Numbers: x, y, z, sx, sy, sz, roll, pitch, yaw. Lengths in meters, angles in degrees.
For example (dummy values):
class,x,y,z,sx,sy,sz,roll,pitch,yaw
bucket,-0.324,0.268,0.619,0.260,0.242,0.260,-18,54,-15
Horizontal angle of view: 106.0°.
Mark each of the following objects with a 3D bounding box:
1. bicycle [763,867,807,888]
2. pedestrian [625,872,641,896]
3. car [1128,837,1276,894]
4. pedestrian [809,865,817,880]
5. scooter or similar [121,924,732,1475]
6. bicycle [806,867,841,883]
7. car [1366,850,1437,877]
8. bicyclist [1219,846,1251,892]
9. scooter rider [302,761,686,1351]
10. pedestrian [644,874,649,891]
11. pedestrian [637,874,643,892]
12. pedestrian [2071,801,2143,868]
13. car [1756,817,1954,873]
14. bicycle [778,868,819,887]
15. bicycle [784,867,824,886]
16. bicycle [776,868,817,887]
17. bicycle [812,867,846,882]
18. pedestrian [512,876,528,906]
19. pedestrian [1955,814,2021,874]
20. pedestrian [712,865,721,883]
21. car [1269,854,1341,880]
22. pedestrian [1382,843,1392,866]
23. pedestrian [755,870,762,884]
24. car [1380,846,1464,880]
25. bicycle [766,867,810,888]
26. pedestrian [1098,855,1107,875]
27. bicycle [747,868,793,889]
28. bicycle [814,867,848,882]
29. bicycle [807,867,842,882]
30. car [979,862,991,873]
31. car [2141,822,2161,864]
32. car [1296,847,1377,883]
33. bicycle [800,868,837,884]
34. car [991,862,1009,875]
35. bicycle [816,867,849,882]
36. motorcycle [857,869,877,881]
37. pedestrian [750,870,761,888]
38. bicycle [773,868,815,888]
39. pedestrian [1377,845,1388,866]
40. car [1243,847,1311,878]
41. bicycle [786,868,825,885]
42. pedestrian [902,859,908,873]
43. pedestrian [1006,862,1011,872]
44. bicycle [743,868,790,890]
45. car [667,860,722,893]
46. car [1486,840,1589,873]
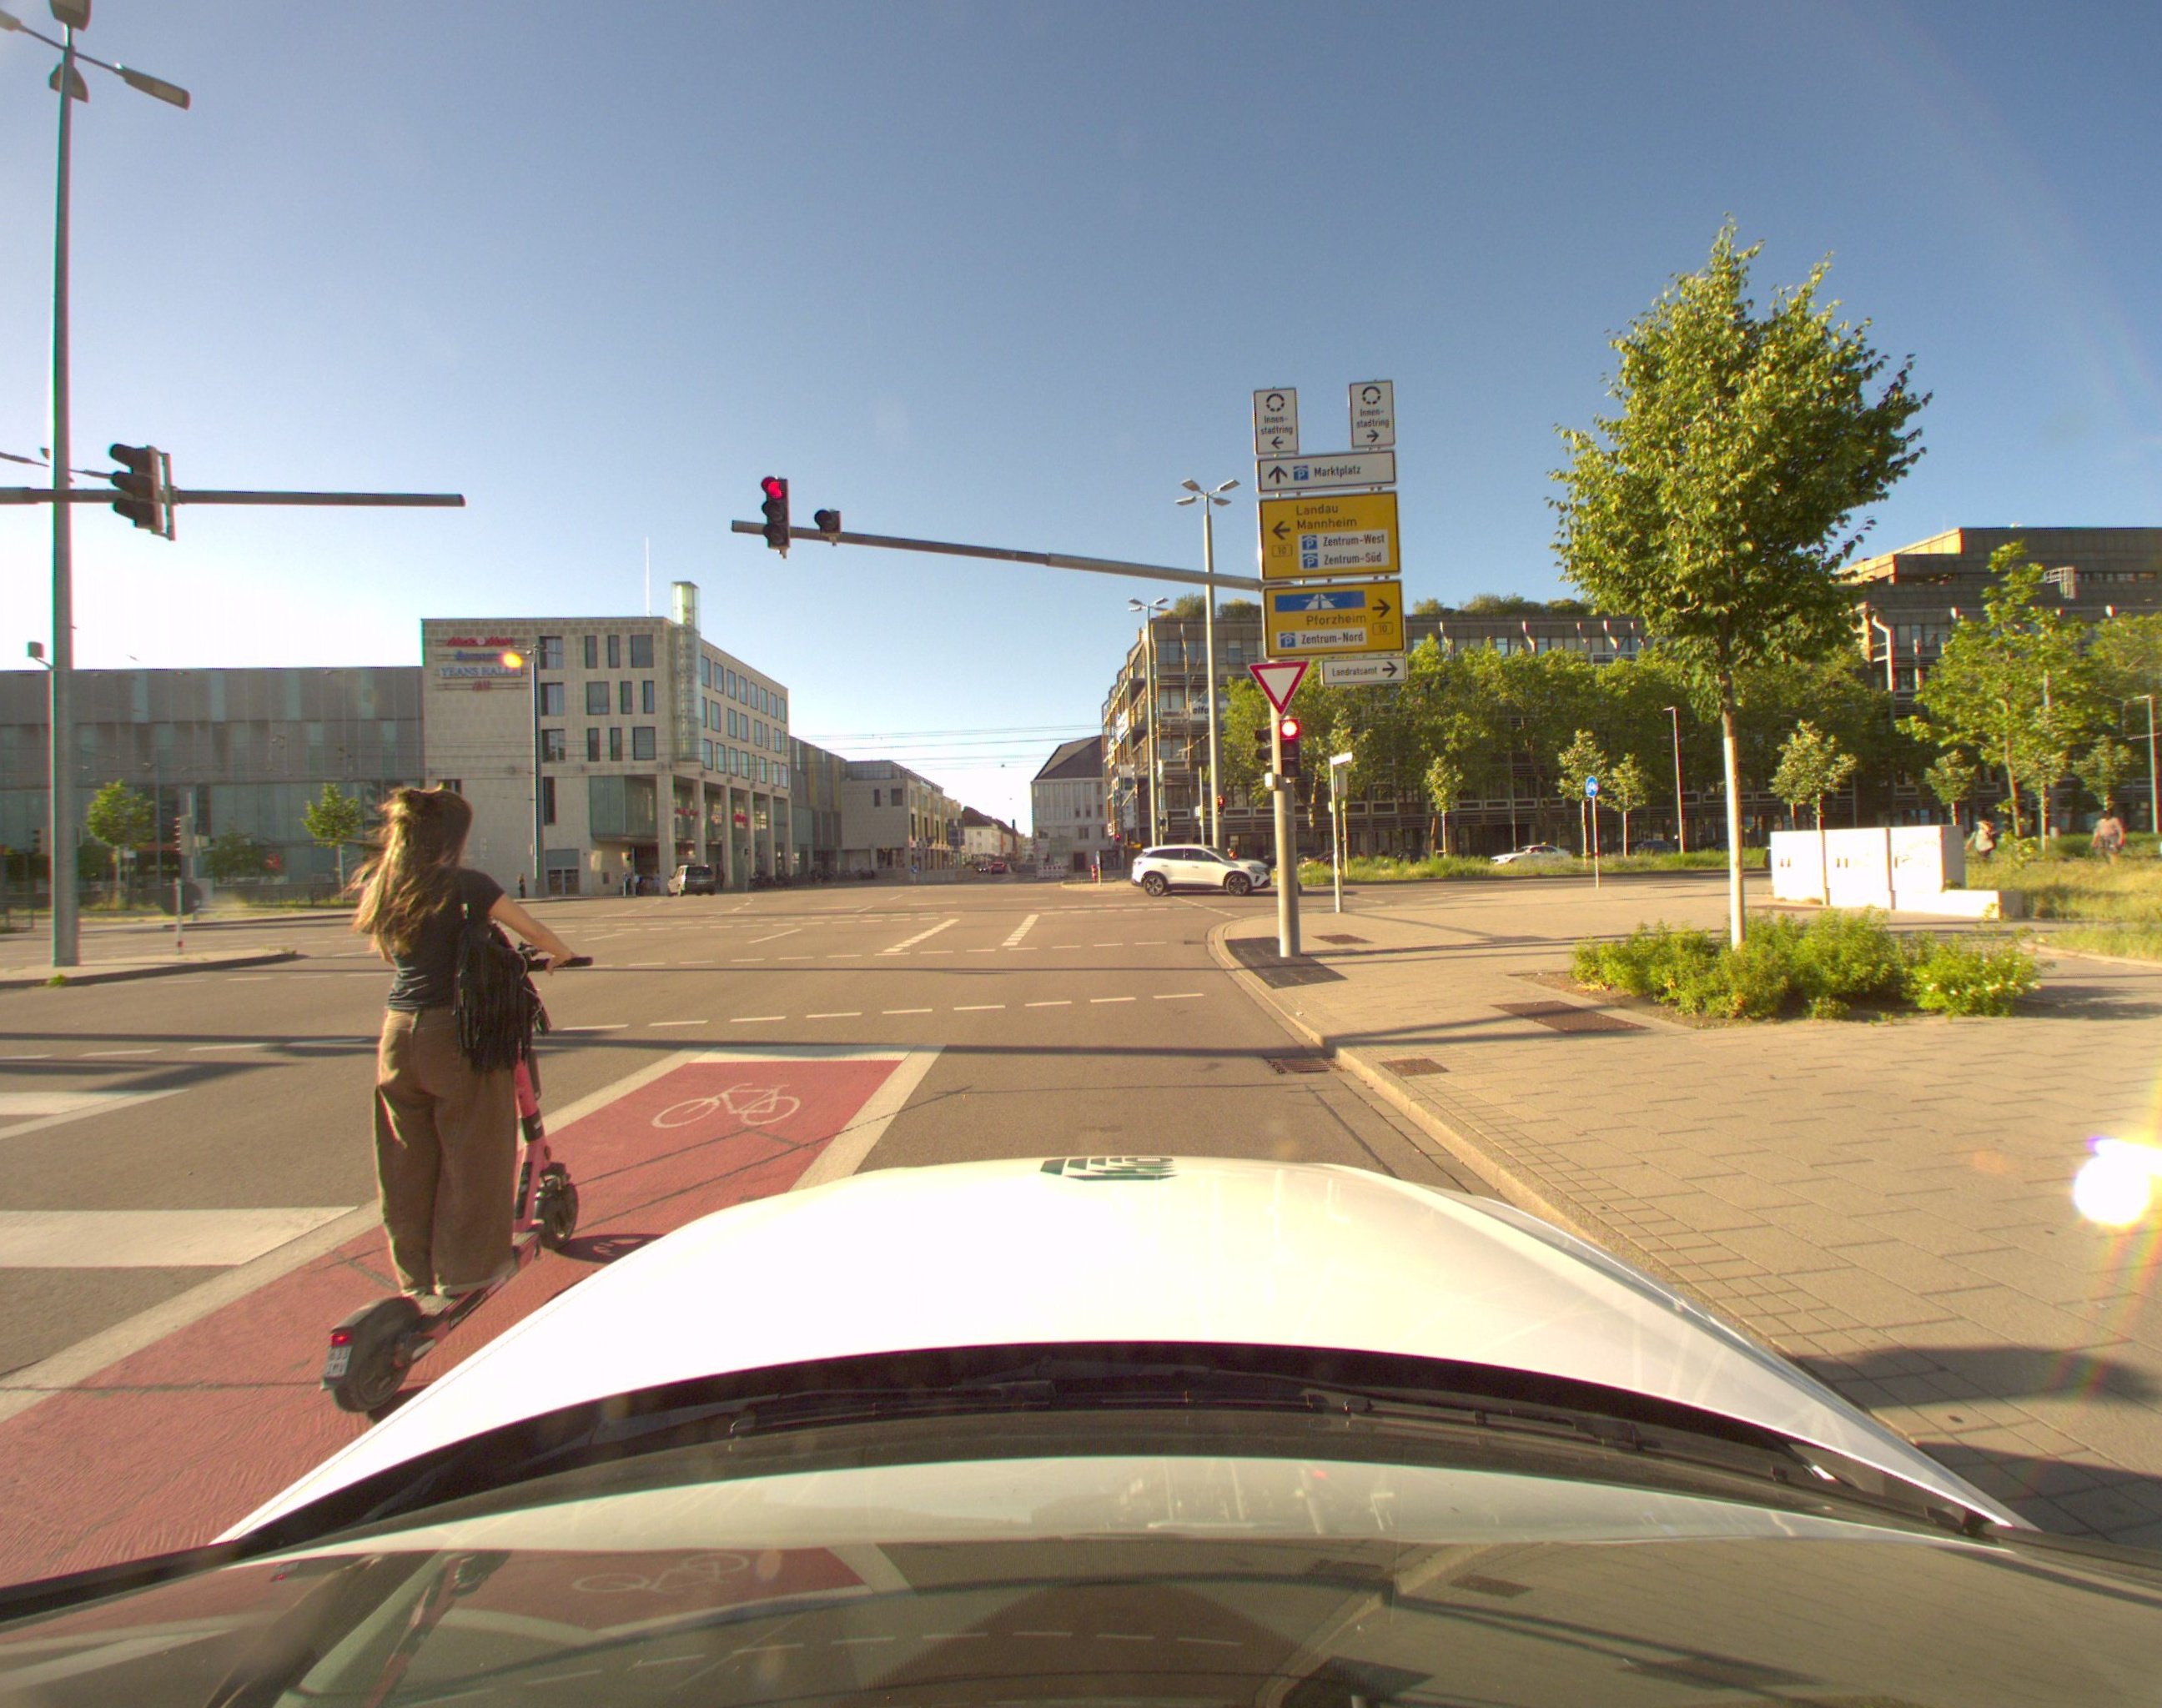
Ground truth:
class,x,y,z,sx,sy,sz,roll,pitch,yaw
bicycle,-26.139,2.073,71.952,3.488,1.696,1.114,-2,0,-7
pedestrian,-33.699,2.257,61.245,0.755,1.798,0.736,-2,0,-4
car,3.934,0.410,26.439,4.354,1.660,2.010,-2,-2,20
pedestrian,-30.037,2.123,91.182,0.652,1.642,0.693,-2,0,-7
scooter or similar,-1.974,0.924,2.839,0.725,1.202,1.665,-1,0,2
bicycle,-27.647,2.216,87.447,3.491,1.527,0.984,-2,0,-10
car,21.406,0.642,54.573,3.976,1.750,1.998,0,-1,-2
bicyclist,8.888,0.857,47.064,1.566,2.580,0.929,-2,0,-7
scooter rider,-1.981,0.613,2.877,0.726,1.775,0.811,-1,0,1
pedestrian,-36.740,2.449,68.863,0.388,1.412,0.434,-2,0,-27
pedestrian,-37.095,2.425,68.460,0.388,1.426,0.498,-2,0,-29
pedestrian,27.221,-0.509,21.618,0.694,1.728,0.939,-2,0,-12
car,26.615,-0.307,28.126,4.922,1.601,2.000,-3,1,-1
bicycle,-27.039,2.214,78.064,3.491,1.696,0.984,-2,0,-10
bicycle,-27.243,2.238,80.160,3.491,1.696,0.984,-2,0,-10
bicycle,-26.851,2.203,76.855,3.491,1.696,0.984,-2,0,-10
bicycle,-27.923,2.254,90.353,3.491,1.527,0.984,-2,0,-10
pedestrian,-32.609,2.152,47.321,0.525,1.694,0.546,-2,0,-8
pedestrian,25.627,-0.282,23.020,0.801,1.630,0.939,-2,0,-12
pedestrian,-32.091,1.769,71.653,0.480,1.510,0.513,-2,0,-3
car,13.855,0.785,50.468,3.976,1.508,1.867,-1,0,-2
pedestrian,23.351,0.045,62.178,0.538,1.669,0.537,-2,0,-1
pedestrian,-33.367,2.349,84.321,0.640,1.435,0.472,-2,0,-21
car,21.408,0.564,51.239,4.435,2.014,1.998,0,-1,-4
bicycle,-26.315,2.119,73.173,3.488,1.696,1.114,-2,0,-7
pedestrian,1.834,0.954,69.731,0.661,1.658,0.755,-2,0,-1
bicycle,-26.906,2.132,70.500,3.488,1.696,1.114,-2,0,-7
bicycle,-28.166,2.296,91.746,3.491,1.527,0.984,-2,0,-10
bicycle,-27.916,2.216,88.576,3.491,1.527,0.984,-2,0,-10
car,-17.179,2.416,145.788,1.752,1.783,3.997,-2,0,-2
car,41.924,-0.489,29.595,4.681,1.528,1.996,-2,0,-6
car,14.455,0.621,46.201,3.975,2.014,1.999,0,-1,-1
bicycle,-27.542,2.295,85.579,3.491,1.527,0.984,-2,0,-10
car,-10.782,1.888,108.857,2.195,1.607,4.320,-2,0,-4
bicycle,-28.283,2.333,92.777,3.491,1.527,0.984,-2,0,-10
motorcycle,-25.961,2.540,98.864,2.269,1.318,0.719,-2,0,-4
pedestrian,-30.555,2.319,76.477,0.785,1.642,0.691,-2,0,-14
bicycle,-26.675,2.184,75.759,3.491,1.696,0.984,-2,0,-10
pedestrian,23.268,0.085,62.815,0.538,1.590,0.586,-2,0,-1
car,12.843,0.563,53.616,3.975,2.014,1.999,0,-1,-1
bicycle,-27.404,2.230,81.158,3.491,1.527,0.984,-2,0,-10
pedestrian,-26.186,1.738,120.857,0.623,2.013,0.734,-2,0,4
pedestrian,-9.756,1.750,108.852,0.608,1.411,0.569,-2,0,-5
bicycle,-26.727,2.100,69.291,3.488,1.696,1.114,-2,0,-7
car,-21.111,1.175,44.408,2.008,1.607,4.433,-2,1,-34
car,28.896,0.147,51.645,5.424,2.014,2.097,0,-1,-1
